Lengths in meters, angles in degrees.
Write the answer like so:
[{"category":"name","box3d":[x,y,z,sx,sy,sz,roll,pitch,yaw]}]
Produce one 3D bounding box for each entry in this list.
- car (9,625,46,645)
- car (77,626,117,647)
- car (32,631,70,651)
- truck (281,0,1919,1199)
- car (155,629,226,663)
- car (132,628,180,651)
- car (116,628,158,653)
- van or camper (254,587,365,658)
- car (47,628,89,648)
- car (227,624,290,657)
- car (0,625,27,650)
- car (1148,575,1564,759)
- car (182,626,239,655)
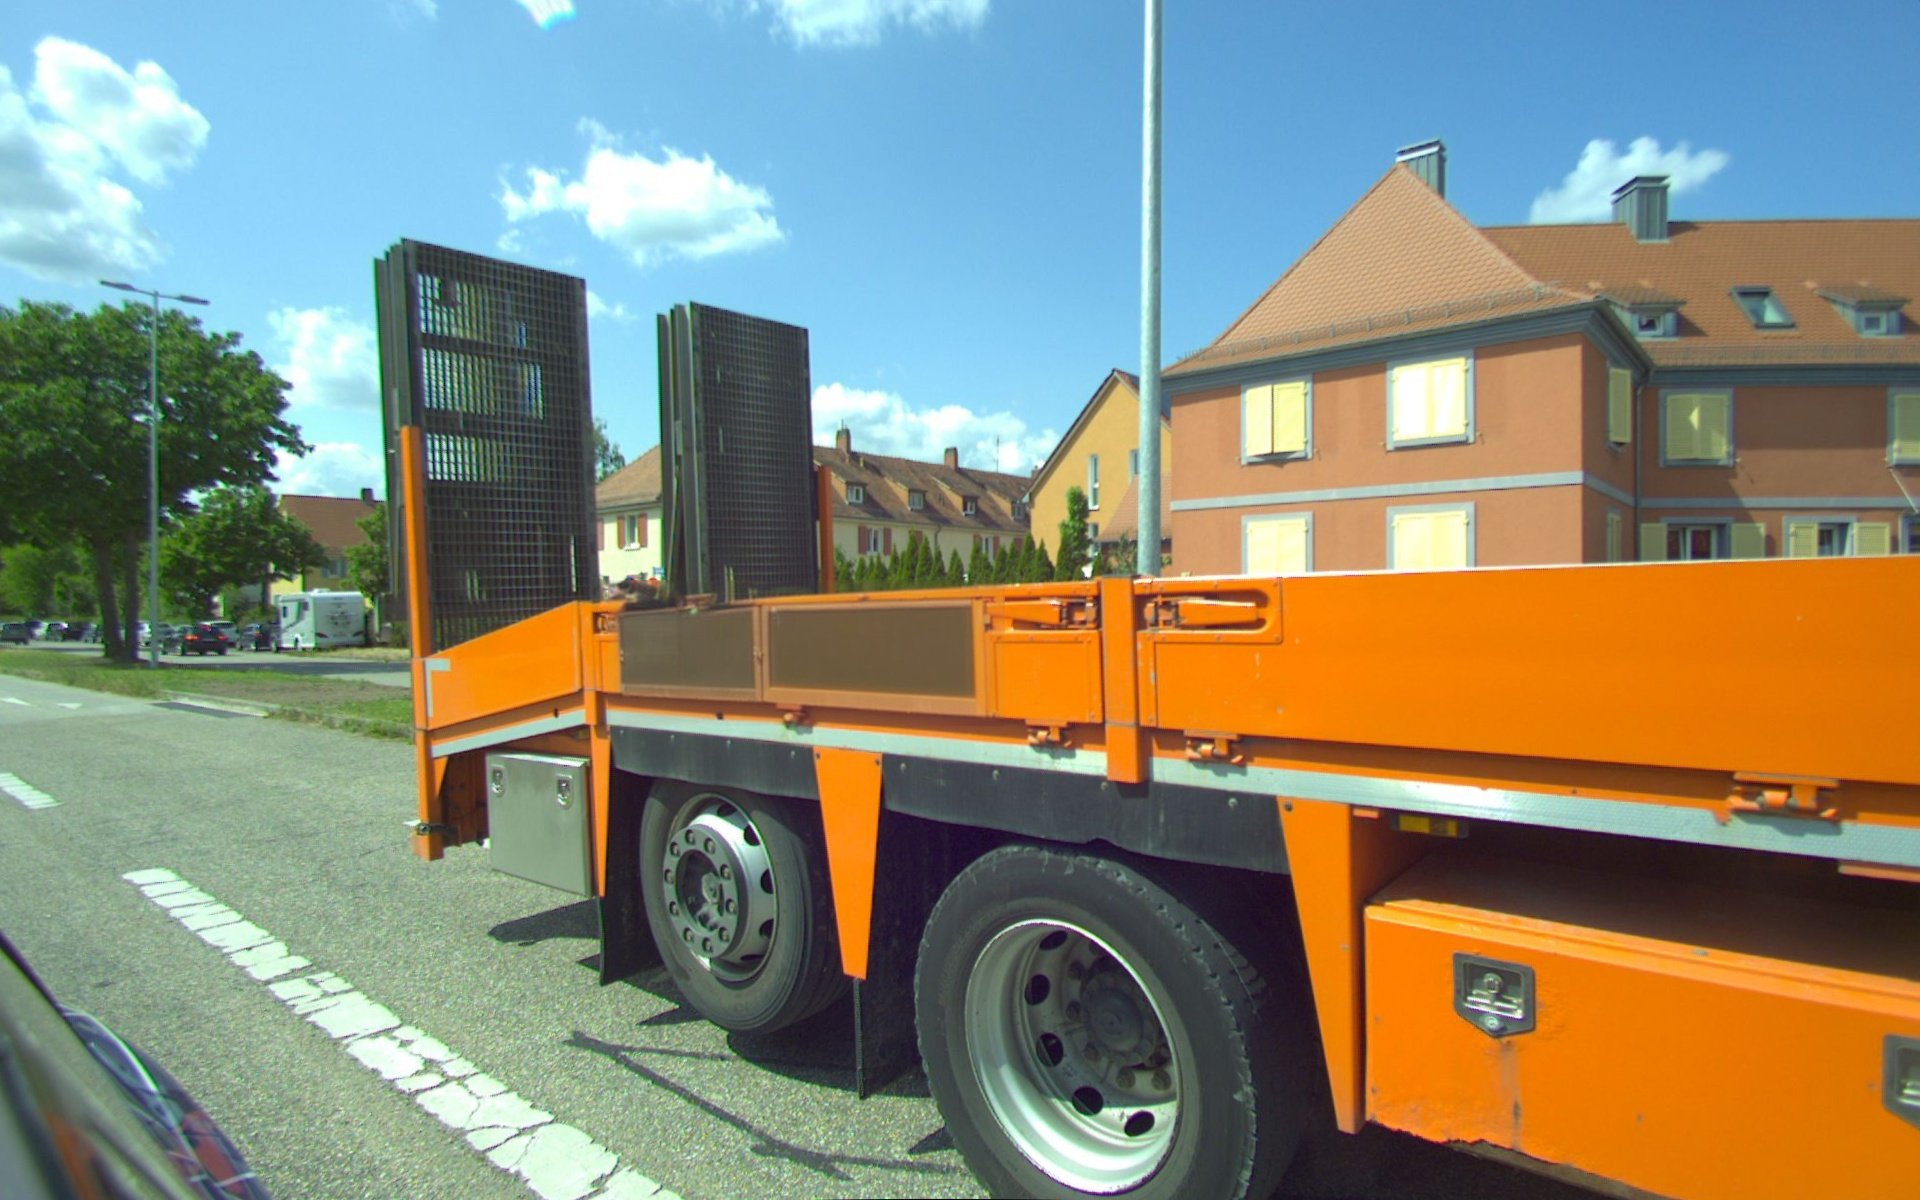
[{"category":"car","box3d":[-82.194,3.052,89.194,4.307,1.624,1.645,0,2,37]},{"category":"car","box3d":[-63.774,2.652,74.794,3.472,1.405,1.548,0,2,38]},{"category":"car","box3d":[-75.902,3.397,84.486,3.840,1.462,1.645,0,2,37]},{"category":"truck","box3d":[2.109,-0.429,2.282,11.060,3.439,3.040,0,2,40]},{"category":"car","box3d":[-36.224,2.122,47.605,4.573,1.449,1.753,-1,-1,41]},{"category":"car","box3d":[-52.173,2.558,65.640,4.527,1.380,1.496,-1,1,40]},{"category":"car","box3d":[-56.154,2.735,69.035,3.736,1.569,1.389,-1,1,38]},{"category":"van or camper","box3d":[-31.279,1.078,48.557,7.312,3.135,2.237,-2,1,39]},{"category":"car","box3d":[-70.575,3.009,80.030,4.096,1.492,1.645,-2,1,37]},{"category":"car","box3d":[-36.515,2.089,52.664,3.989,1.496,1.620,0,2,40]},{"category":"car","box3d":[-63.060,2.458,66.579,4.646,1.519,1.716,0,-3,38]},{"category":"car","box3d":[4.324,0.665,11.371,3.997,1.702,1.776,-1,-1,40]},{"category":"car","box3d":[-43.268,2.297,58.361,4.120,1.496,1.672,0,2,40]}]
